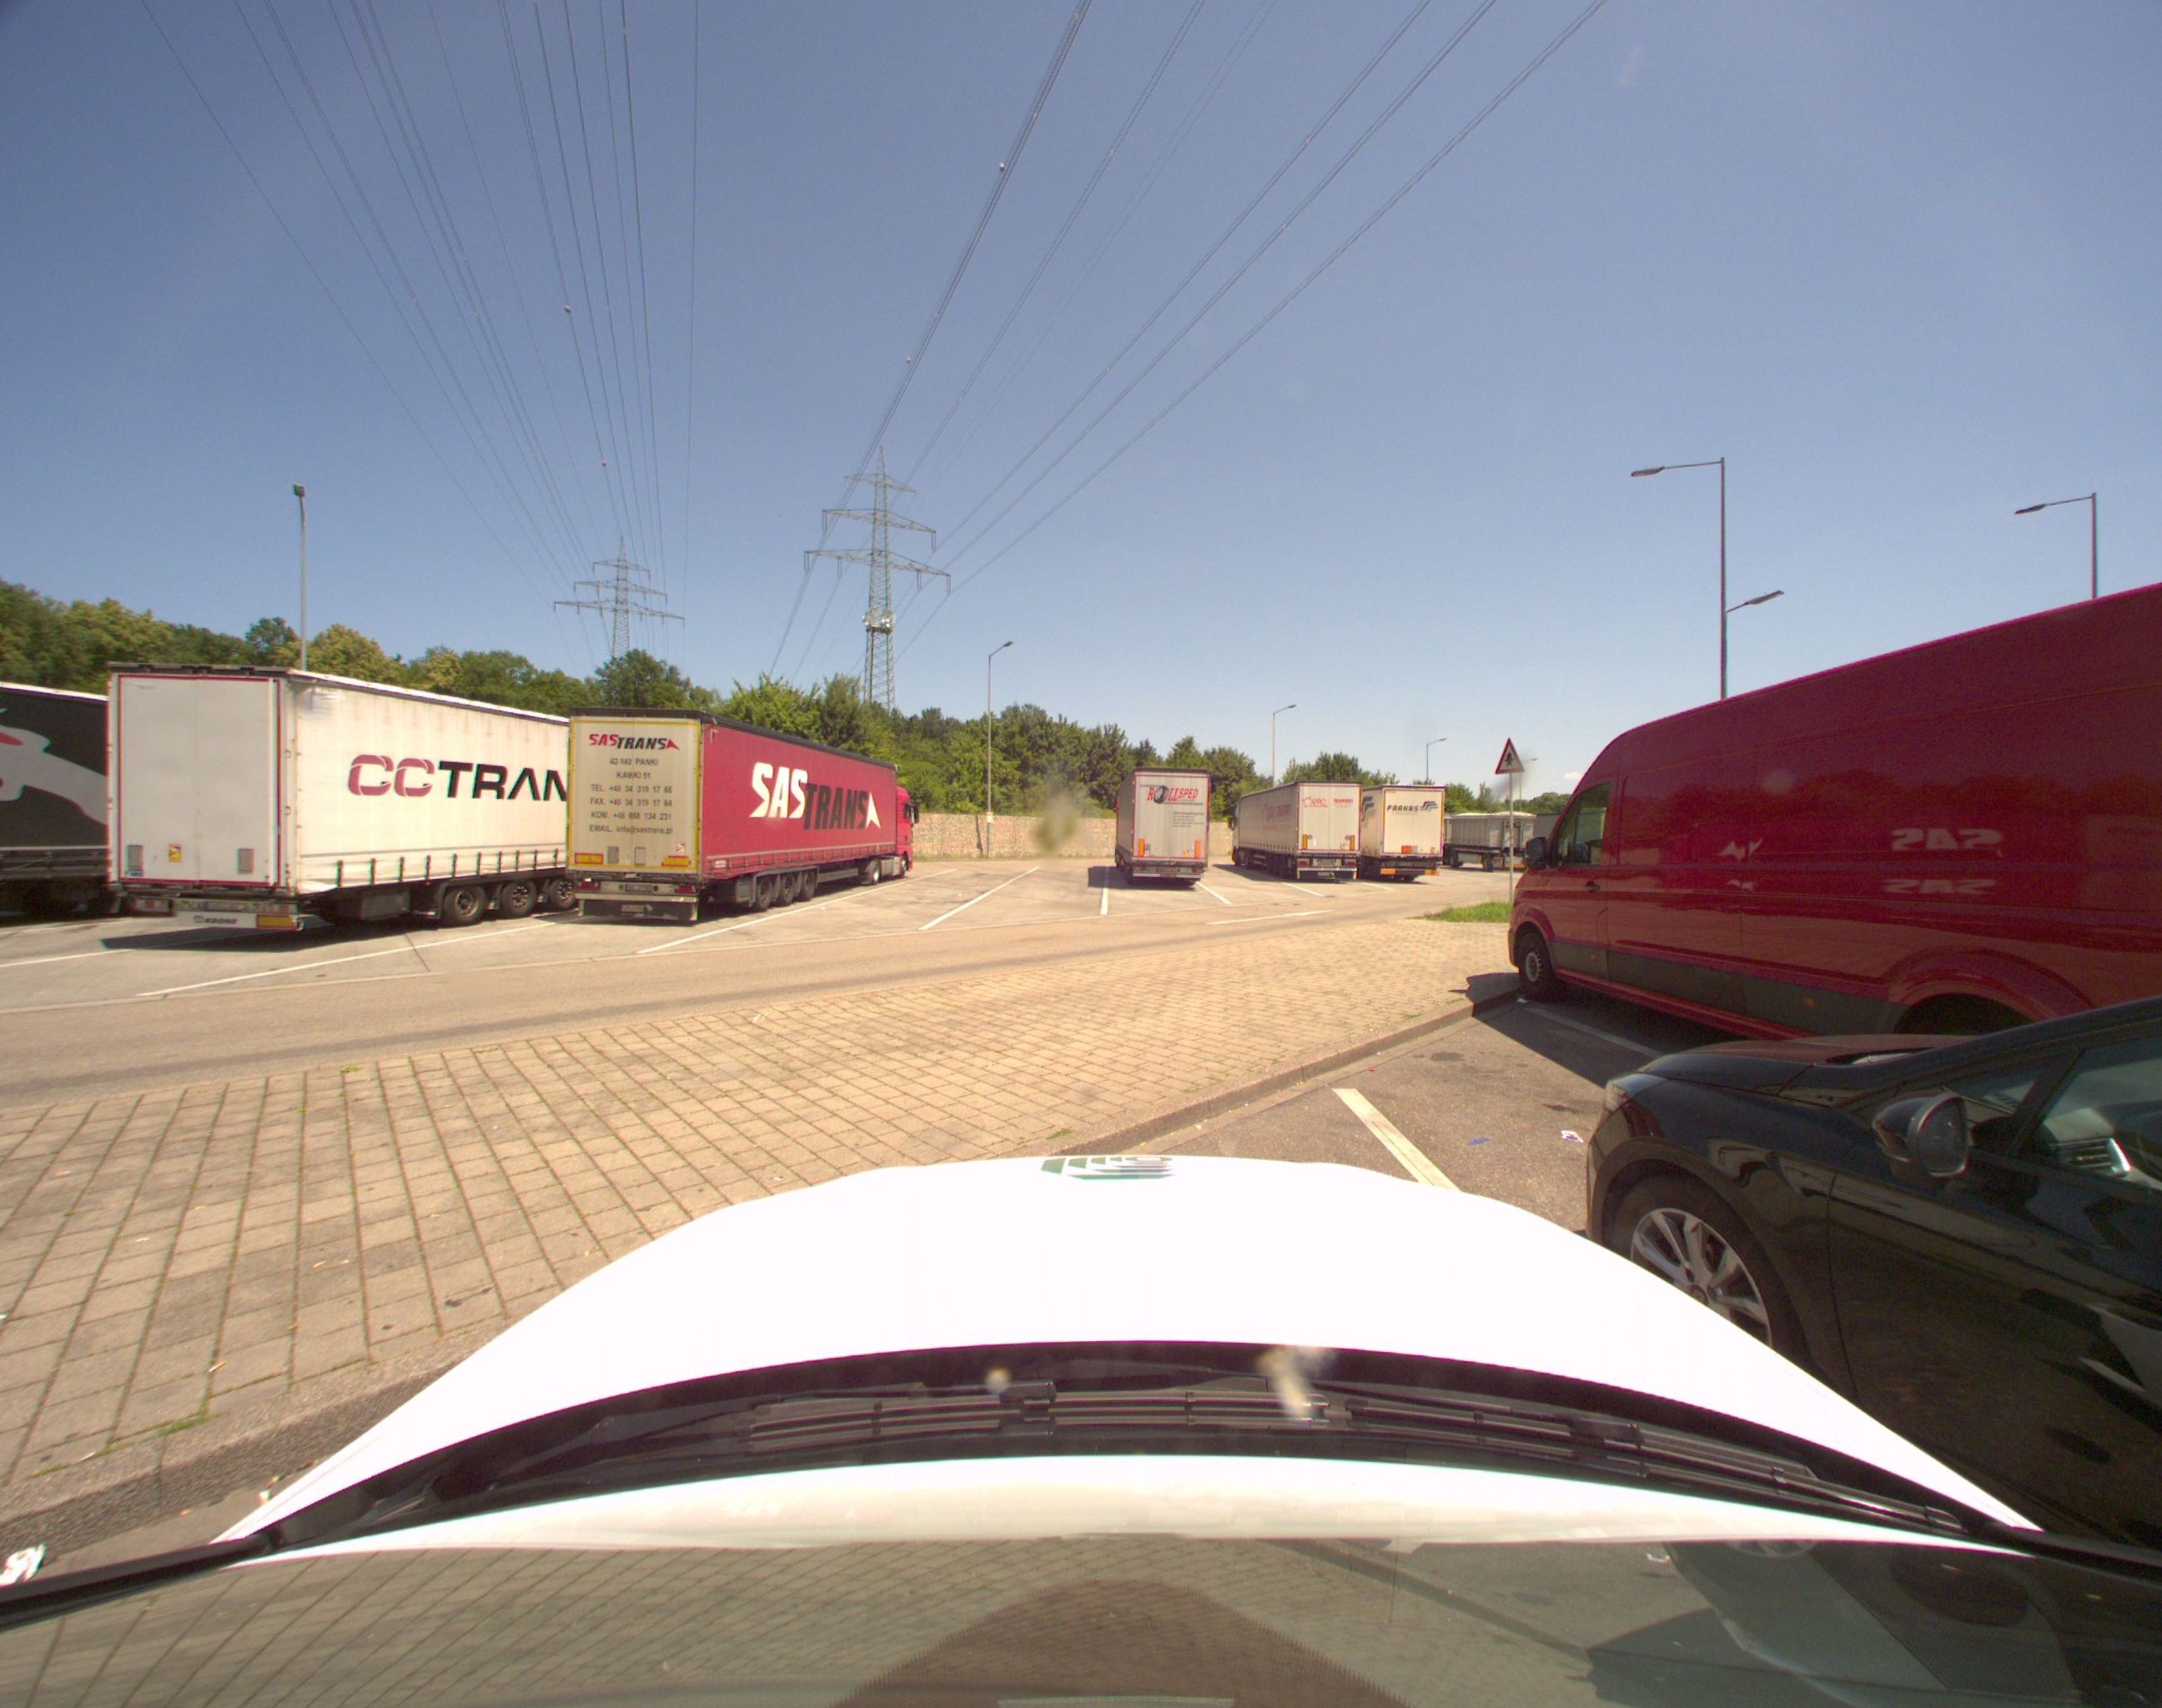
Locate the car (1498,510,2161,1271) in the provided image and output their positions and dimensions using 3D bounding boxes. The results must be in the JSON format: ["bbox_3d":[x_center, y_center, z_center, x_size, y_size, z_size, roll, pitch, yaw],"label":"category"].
[{"bbox_3d":[5.161,0.079,5.497,2.055,2.695,6.405,-1,1,6],"label":"car"}]

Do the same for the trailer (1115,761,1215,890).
[{"bbox_3d":[3.022,-1.114,33.303,2.896,4.132,13.727,1,2,1],"label":"trailer"}]

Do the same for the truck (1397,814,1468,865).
[{"bbox_3d":[24.918,-1.044,57.960,2.840,3.364,5.488,1,1,3],"label":"truck"}]

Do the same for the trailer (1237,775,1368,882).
[{"bbox_3d":[9.953,-1.173,38.630,2.828,4.132,13.730,1,2,2],"label":"trailer"}]

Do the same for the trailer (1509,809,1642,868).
[{"bbox_3d":[38.371,-1.284,64.146,2.826,4.049,13.737,1,2,3],"label":"trailer"}]

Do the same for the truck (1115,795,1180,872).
[{"bbox_3d":[3.166,-1.002,39.916,2.841,3.483,5.486,1,1,2],"label":"truck"}]

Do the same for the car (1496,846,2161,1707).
[{"bbox_3d":[2.519,0.749,1.187,1.733,1.482,3.813,-1,1,-3],"label":"car"}]

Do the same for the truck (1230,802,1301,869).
[{"bbox_3d":[10.161,-1.049,45.441,2.841,3.483,5.486,1,1,2],"label":"truck"}]

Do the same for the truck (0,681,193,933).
[{"bbox_3d":[-18.581,-0.792,13.569,2.692,4.016,4.326,1,2,2],"label":"truck"}]

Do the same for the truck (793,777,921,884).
[{"bbox_3d":[-7.802,-0.838,29.100,2.841,3.427,5.486,1,1,2],"label":"truck"}]

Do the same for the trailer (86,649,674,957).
[{"bbox_3d":[-12.205,-0.885,16.334,2.718,4.209,10.175,1,2,2],"label":"trailer"}]

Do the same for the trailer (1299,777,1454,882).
[{"bbox_3d":[13.609,-1.142,39.294,2.828,4.132,13.730,1,2,2],"label":"trailer"}]

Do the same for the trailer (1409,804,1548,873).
[{"bbox_3d":[24.529,-1.034,51.461,2.826,3.717,13.737,1,2,3],"label":"trailer"}]

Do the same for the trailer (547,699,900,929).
[{"bbox_3d":[-8.040,-0.954,21.663,2.896,4.131,13.731,1,2,2],"label":"trailer"}]
